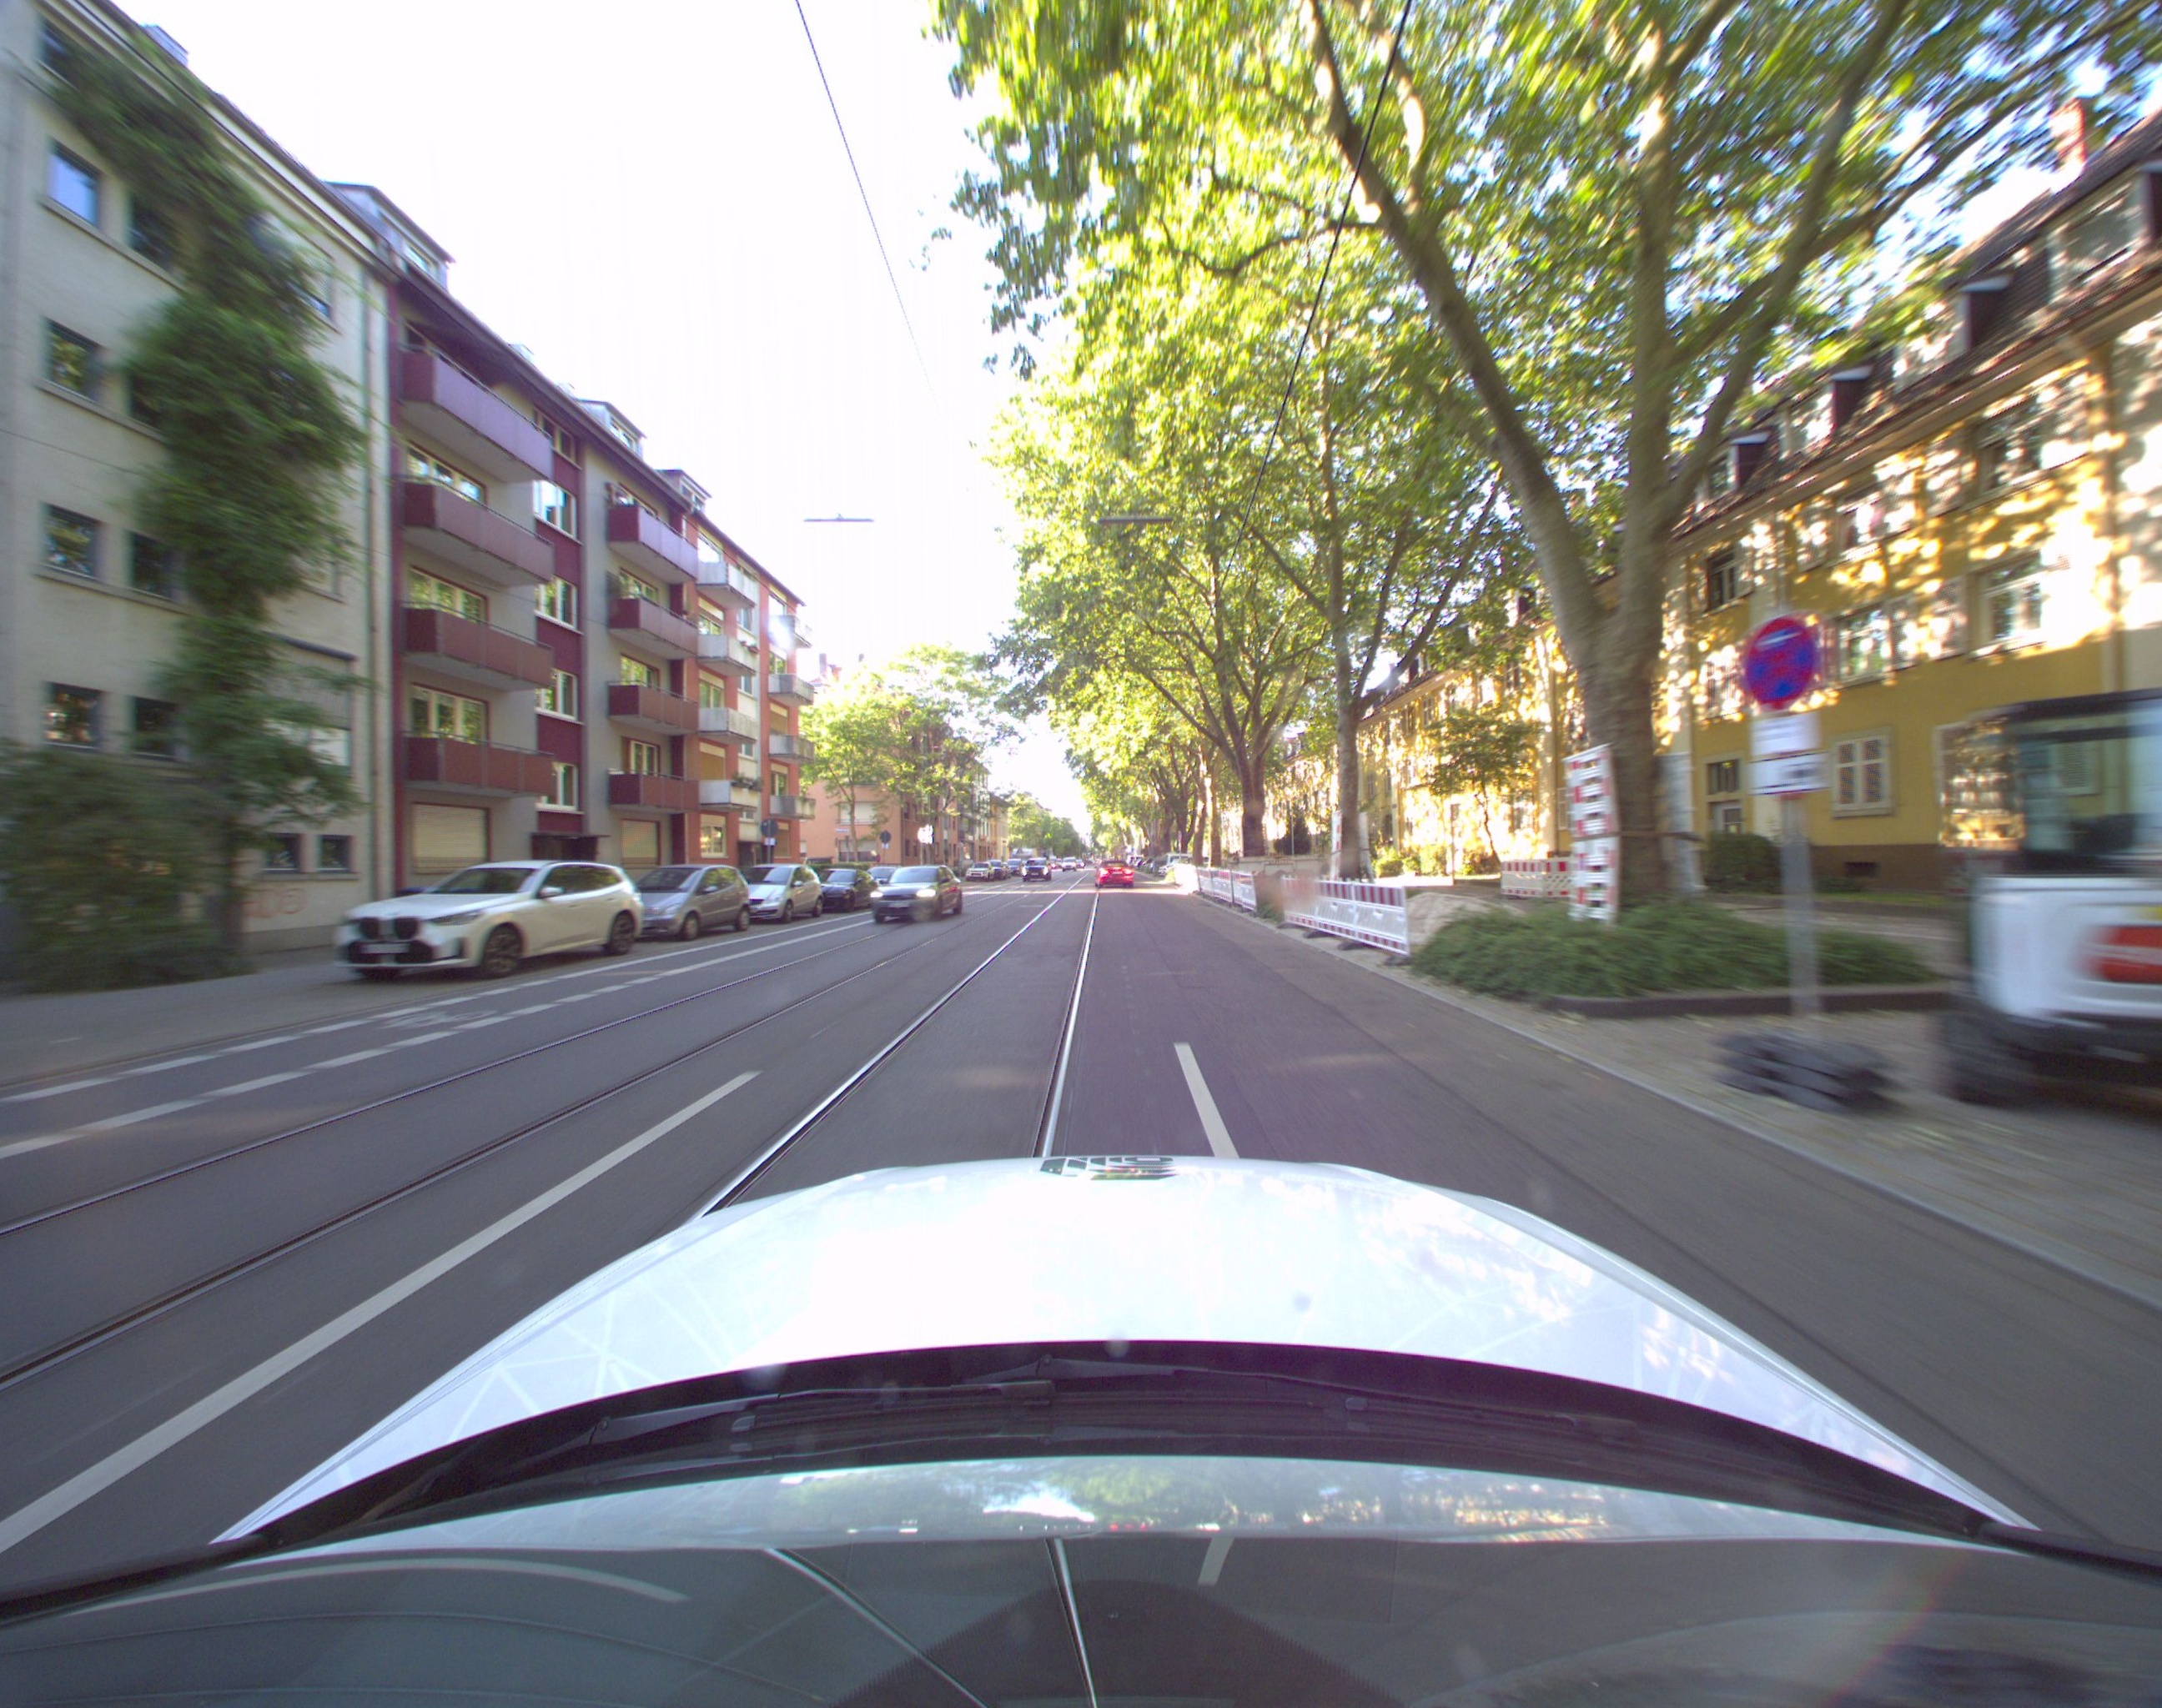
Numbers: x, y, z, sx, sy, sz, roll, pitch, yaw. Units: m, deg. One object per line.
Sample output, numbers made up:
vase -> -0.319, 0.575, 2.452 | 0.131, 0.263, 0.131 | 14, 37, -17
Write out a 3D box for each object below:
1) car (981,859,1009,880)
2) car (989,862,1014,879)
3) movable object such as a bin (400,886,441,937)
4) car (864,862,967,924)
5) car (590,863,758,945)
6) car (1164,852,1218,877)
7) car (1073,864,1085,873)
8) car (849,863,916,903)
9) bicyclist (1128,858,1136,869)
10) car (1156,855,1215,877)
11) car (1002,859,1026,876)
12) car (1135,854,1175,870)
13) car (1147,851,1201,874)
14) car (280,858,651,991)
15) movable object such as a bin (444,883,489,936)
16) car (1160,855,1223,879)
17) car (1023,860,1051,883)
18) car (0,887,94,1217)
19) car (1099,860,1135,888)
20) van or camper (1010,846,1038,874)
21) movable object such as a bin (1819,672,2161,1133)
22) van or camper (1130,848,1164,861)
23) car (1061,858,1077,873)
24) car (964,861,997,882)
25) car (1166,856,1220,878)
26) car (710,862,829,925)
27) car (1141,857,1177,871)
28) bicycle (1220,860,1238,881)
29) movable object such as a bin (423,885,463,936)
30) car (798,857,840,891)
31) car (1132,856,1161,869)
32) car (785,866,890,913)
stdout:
car -> -7.052, 1.257, 67.230 | 1.775, 1.610, 4.588 | 2, 0, 1
car -> -7.064, 1.409, 72.382 | 1.732, 1.401, 4.383 | 1, 0, 1
movable object such as a bin -> -14.282, 1.241, 17.614 | 0.459, 1.055, 0.492 | -1, 0, 1
car -> -4.353, 0.982, 22.070 | 1.789, 1.446, 4.054 | -2, 0, 2
car -> -8.774, 1.008, 17.945 | 1.619, 1.572, 3.784 | -1, -1, 3
car -> 8.163, 0.779, 60.696 | 3.825, 1.772, 1.919 | -1, -1, 5
car -> -0.338, 2.417, 135.925 | 1.769, 1.458, 4.203 | -2, 0, 1
car -> -8.098, 1.135, 33.547 | 1.719, 1.483, 3.930 | 1, 0, 1
bicyclist -> 8.217, 1.558, 132.189 | 1.045, 1.705, 1.055 | -1, -1, -8
car -> 8.020, 0.907, 62.724 | 4.349, 1.542, 1.804 | -1, 0, 5
car -> -6.716, 1.325, 81.998 | 1.946, 1.686, 5.071 | 1, 0, 1
car -> 8.698, 0.981, 95.463 | 4.474, 1.602, 2.030 | -3, -1, 5
car -> 8.649, 0.780, 76.188 | 4.822, 1.963, 2.064 | -1, -1, -1
car -> -8.981, 0.911, 12.619 | 1.946, 1.648, 4.881 | 0, -1, 1
movable object such as a bin -> -13.300, 1.200, 17.643 | 0.576, 1.100, 0.498 | -1, 0, 1
car -> 7.619, 0.905, 56.420 | 4.074, 1.521, 1.916 | -1, -1, 0
car -> -3.117, 1.237, 58.650 | 1.848, 1.600, 4.462 | 0, 0, -1
car -> -5.719, 0.914, 1.578 | 1.789, 1.446, 4.717 | -2, 0, 1
car -> 1.850, 0.988, 42.023 | 1.785, 1.389, 4.238 | 0, 0, 2
van or camper -> -6.537, 0.704, 94.265 | 2.328, 3.041, 6.401 | 2, 0, 3
movable object such as a bin -> 6.196, 0.229, 5.406 | 1.467, 2.269, 3.297 | -1, 0, 35
van or camper -> 11.276, 0.071, 139.636 | 5.543, 2.013, 2.242 | -3, 2, -3
car -> -1.579, 1.549, 110.655 | 1.885, 1.832, 4.896 | -1, 0, 1
car -> -7.554, 1.295, 61.638 | 1.799, 1.478, 4.092 | 1, -1, 3
car -> 8.046, 0.923, 58.733 | 3.825, 1.433, 1.854 | -1, -1, 5
car -> -8.620, 1.045, 22.932 | 1.814, 1.587, 4.004 | 0, 0, 0
car -> 8.521, 1.102, 89.004 | 3.824, 1.509, 1.711 | -1, -1, 1
bicycle -> 8.608, 0.955, 47.465 | 0.688, 1.154, 1.949 | -1, 0, 2
movable object such as a bin -> -13.818, 1.213, 17.634 | 0.459, 1.055, 0.492 | -1, 0, 1
car -> -17.392, 1.303, 53.917 | 2.004, 2.123, 4.681 | 0, -1, -27
car -> 9.300, 1.216, 115.598 | 3.911, 1.670, 1.960 | -1, -1, -1
car -> -8.279, 1.165, 28.250 | 1.944, 1.395, 4.866 | 1, 0, 3
